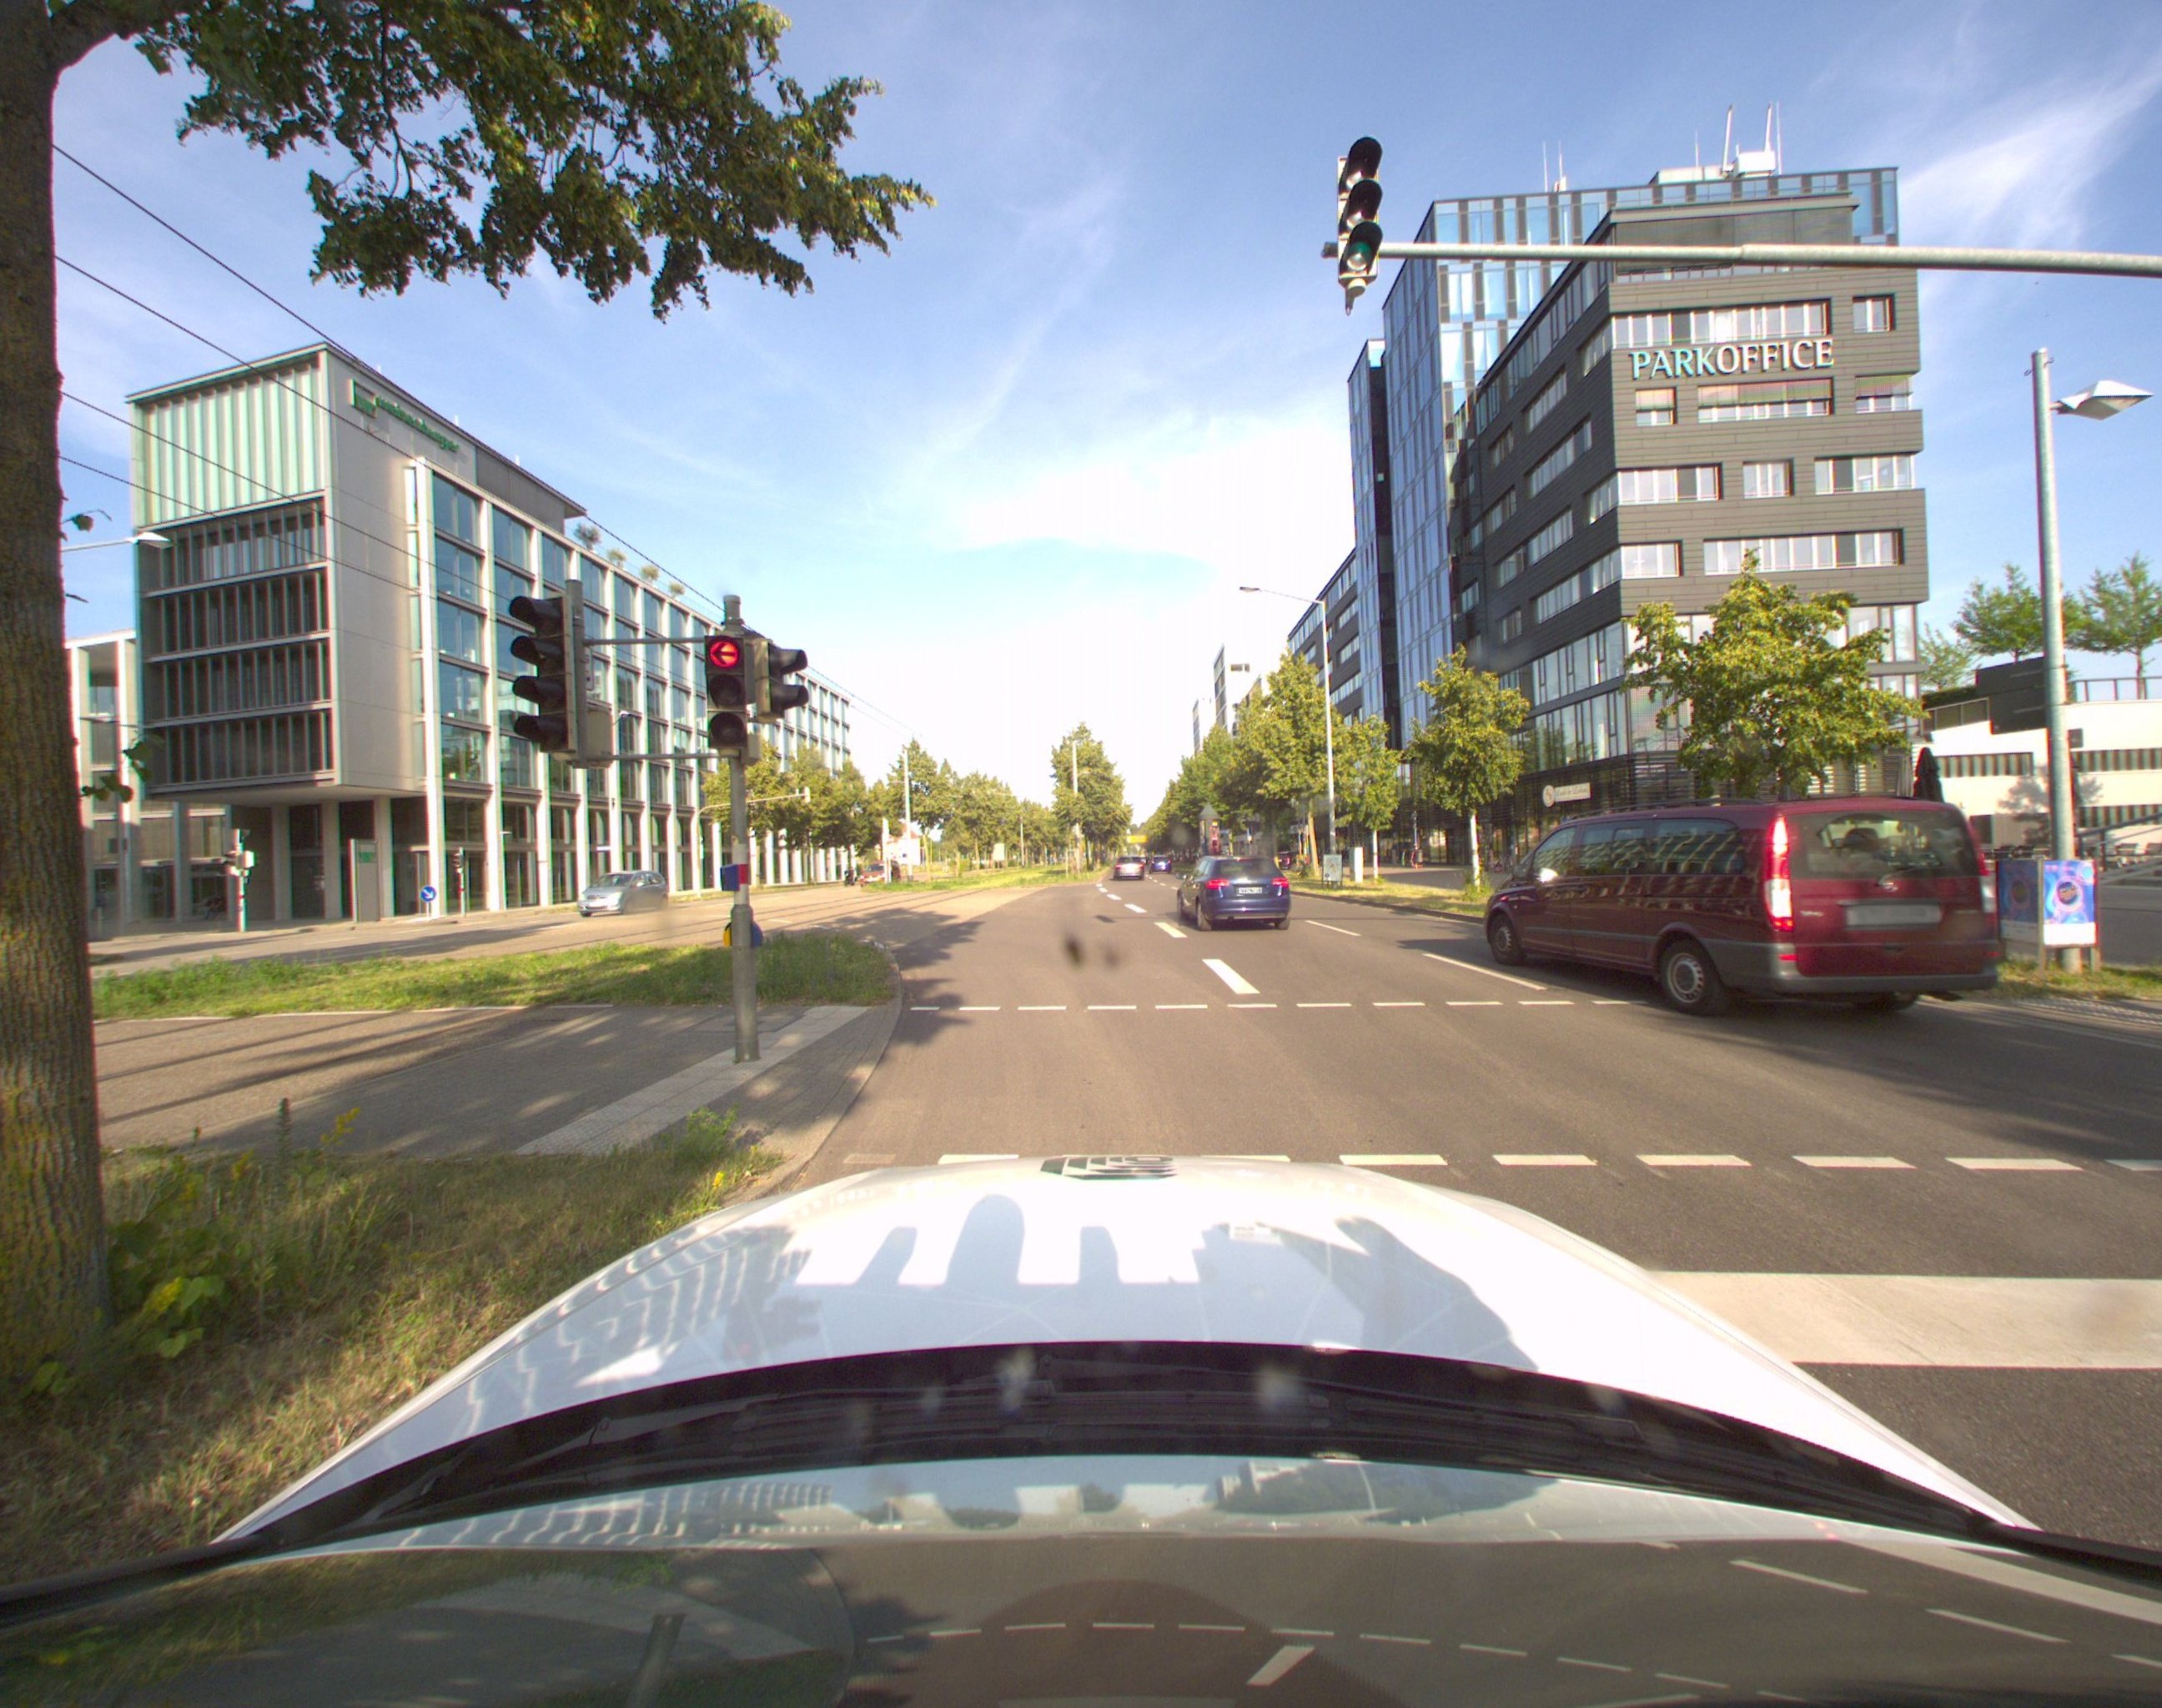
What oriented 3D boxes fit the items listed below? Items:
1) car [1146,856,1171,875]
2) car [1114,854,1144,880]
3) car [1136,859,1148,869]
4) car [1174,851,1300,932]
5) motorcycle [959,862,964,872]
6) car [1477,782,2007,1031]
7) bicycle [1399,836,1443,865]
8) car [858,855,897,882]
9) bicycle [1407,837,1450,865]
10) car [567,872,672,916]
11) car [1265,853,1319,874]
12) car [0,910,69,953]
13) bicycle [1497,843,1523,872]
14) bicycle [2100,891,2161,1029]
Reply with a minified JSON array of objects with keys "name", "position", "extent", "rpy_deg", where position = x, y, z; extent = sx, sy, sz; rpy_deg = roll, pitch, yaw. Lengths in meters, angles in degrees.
[{"name":"car","position":[6.088,0.877,64.164],"extent":[1.556,1.424,3.905],"rpy_deg":[0,0,-1]},{"name":"car","position":[2.802,0.745,48.026],"extent":[1.688,1.424,4.041],"rpy_deg":[0,0,2]},{"name":"car","position":[10.455,1.687,139.194],"extent":[1.818,1.786,4.001],"rpy_deg":[0,0,2]},{"name":"car","position":[3.043,0.688,16.715],"extent":[1.746,1.435,4.033],"rpy_deg":[0,0,-1]},{"name":"motorcycle","position":[-18.875,1.981,128.399],"extent":[0.472,1.531,1.993],"rpy_deg":[0,-1,2]},{"name":"car","position":[6.227,0.421,8.644],"extent":[1.792,1.891,4.822],"rpy_deg":[0,0,1]},{"name":"bicycle","position":[22.152,-0.192,53.077],"extent":[2.547,1.857,0.571],"rpy_deg":[-1,-1,12]},{"name":"car","position":[-13.674,0.973,55.014],"extent":[1.679,1.775,3.881],"rpy_deg":[0,0,-1]},{"name":"bicycle","position":[22.215,-0.182,52.117],"extent":[2.418,1.746,0.556],"rpy_deg":[-1,-1,12]},{"name":"car","position":[-16.858,1.426,30.002],"extent":[1.633,1.443,3.955],"rpy_deg":[0,0,-1]},{"name":"car","position":[14.571,0.641,56.150],"extent":[3.983,1.424,1.758],"rpy_deg":[0,-1,-43]},{"name":"car","position":[-40.205,2.874,30.437],"extent":[3.477,1.424,1.581],"rpy_deg":[-1,-1,12]},{"name":"bicycle","position":[20.628,0.173,39.184],"extent":[0.371,1.346,1.896],"rpy_deg":[0,-1,4]},{"name":"bicycle","position":[9.106,0.790,6.161],"extent":[2.128,1.013,0.571],"rpy_deg":[0,-1,-1]}]
